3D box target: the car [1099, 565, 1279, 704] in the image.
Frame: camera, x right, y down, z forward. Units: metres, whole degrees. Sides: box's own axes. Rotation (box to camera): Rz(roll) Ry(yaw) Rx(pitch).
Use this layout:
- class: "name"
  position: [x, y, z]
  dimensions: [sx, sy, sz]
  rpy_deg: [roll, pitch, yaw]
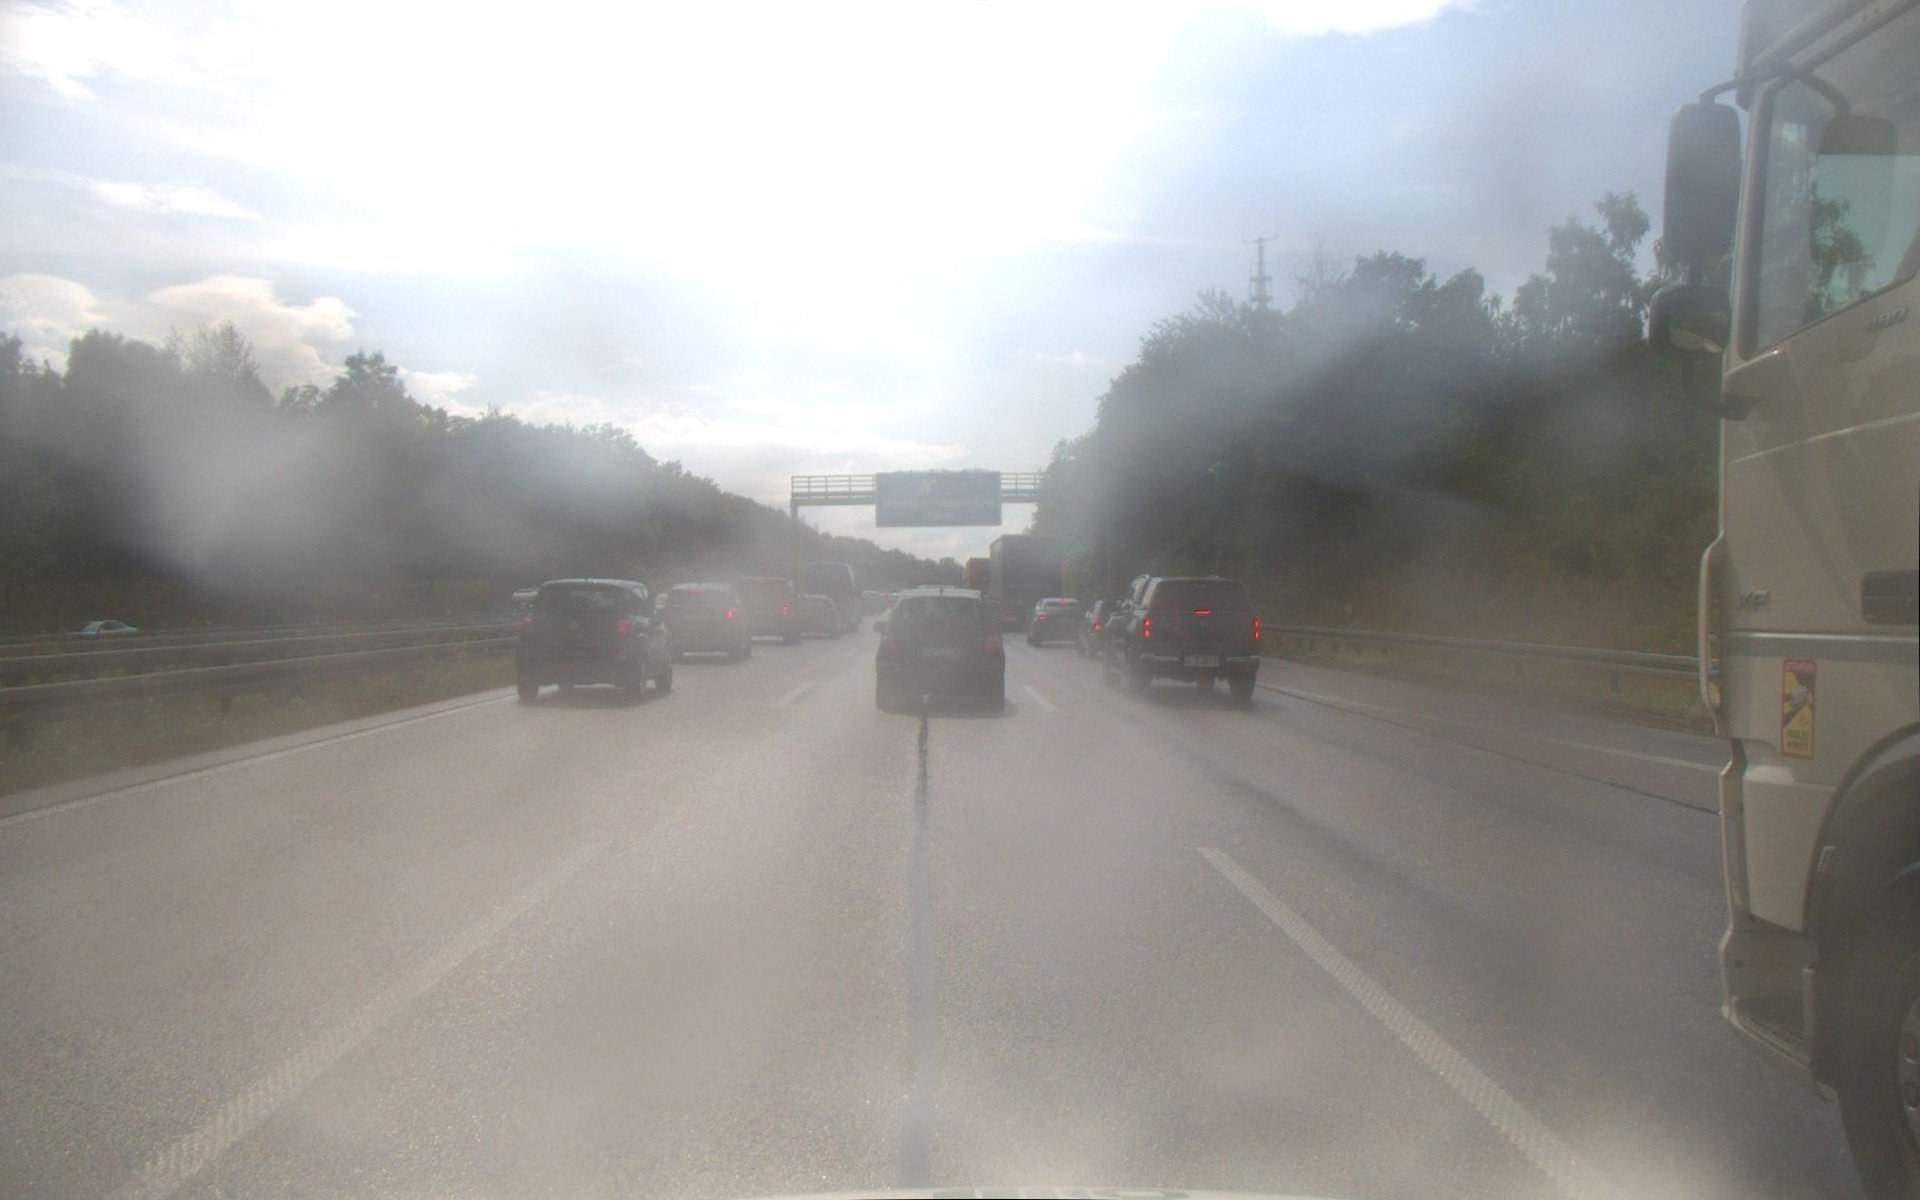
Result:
- class: "car"
  position: [3.484, 0.500, 26.284]
  dimensions: [1.902, 1.952, 5.650]
  rpy_deg: [1, 0, -2]

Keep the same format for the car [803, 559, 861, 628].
- class: "car"
  position: [-5.153, -0.231, 67.123]
  dimensions: [1.953, 2.661, 5.258]
  rpy_deg: [1, 0, -1]

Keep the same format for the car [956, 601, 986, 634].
- class: "car"
  position: [0.714, 1.199, 111.825]
  dimensions: [1.953, 2.152, 4.888]
  rpy_deg: [1, 0, -1]

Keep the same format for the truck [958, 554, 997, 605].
- class: "truck"
  position: [1.298, -1.466, 124.441]
  dimensions: [2.719, 3.695, 5.915]
  rpy_deg: [1, 0, -1]

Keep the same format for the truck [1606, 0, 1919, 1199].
- class: "truck"
  position: [3.671, -0.484, 1.775]
  dimensions: [3.218, 3.959, 6.393]
  rpy_deg: [1, 0, -2]

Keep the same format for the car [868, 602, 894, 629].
- class: "car"
  position: [-6.609, 1.297, 139.315]
  dimensions: [1.953, 2.152, 4.888]
  rpy_deg: [1, 0, -1]

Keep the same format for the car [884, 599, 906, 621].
- class: "car"
  position: [-6.450, 0.974, 164.354]
  dimensions: [1.953, 2.152, 4.888]
  rpy_deg: [1, 0, -1]

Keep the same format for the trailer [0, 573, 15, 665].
- class: "trailer"
  position: [-46.411, 0.804, 70.521]
  dimensions: [3.707, 4.189, 11.735]
  rpy_deg: [1, 0, 12]

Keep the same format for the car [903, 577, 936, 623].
- class: "car"
  position: [-2.523, -0.008, 104.013]
  dimensions: [1.953, 2.794, 5.258]
  rpy_deg: [1, 0, -1]

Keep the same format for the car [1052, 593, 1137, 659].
- class: "car"
  position: [3.280, 0.621, 40.911]
  dimensions: [1.559, 1.542, 3.973]
  rpy_deg: [1, 0, -3]

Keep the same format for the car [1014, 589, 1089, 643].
- class: "car"
  position: [2.721, 0.477, 50.171]
  dimensions: [1.828, 1.542, 3.973]
  rpy_deg: [1, 0, -3]

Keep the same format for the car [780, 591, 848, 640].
- class: "car"
  position: [-4.996, 0.535, 57.162]
  dimensions: [1.953, 1.592, 4.755]
  rpy_deg: [1, 0, -1]

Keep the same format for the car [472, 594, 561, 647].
- class: "car"
  position: [-18.381, 0.821, 68.859]
  dimensions: [2.130, 2.082, 6.498]
  rpy_deg: [1, 0, -2]

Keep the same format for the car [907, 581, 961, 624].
- class: "car"
  position: [-1.008, 0.113, 62.207]
  dimensions: [1.828, 1.542, 3.973]
  rpy_deg: [1, 0, -3]

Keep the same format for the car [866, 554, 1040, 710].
- class: "car"
  position: [-0.200, 0.423, 23.782]
  dimensions: [2.229, 1.989, 4.818]
  rpy_deg: [1, 0, -3]

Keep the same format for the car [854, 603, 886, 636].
- class: "car"
  position: [-6.105, 1.304, 113.144]
  dimensions: [1.953, 2.152, 4.888]
  rpy_deg: [1, 0, -1]

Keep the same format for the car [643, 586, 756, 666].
- class: "car"
  position: [-5.802, 0.560, 37.340]
  dimensions: [1.870, 1.665, 4.616]
  rpy_deg: [-1, 0, -1]

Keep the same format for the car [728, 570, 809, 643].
- class: "car"
  position: [-5.787, 0.202, 50.482]
  dimensions: [1.938, 2.090, 4.755]
  rpy_deg: [1, 0, -1]

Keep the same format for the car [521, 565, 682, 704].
- class: "car"
  position: [-5.122, 0.469, 24.094]
  dimensions: [1.659, 1.836, 3.973]
  rpy_deg: [1, 0, -3]

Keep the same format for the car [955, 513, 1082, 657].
- class: "car"
  position: [2.433, -0.596, 77.285]
  dimensions: [4.316, 5.932, 16.806]
  rpy_deg: [1, 0, -3]
